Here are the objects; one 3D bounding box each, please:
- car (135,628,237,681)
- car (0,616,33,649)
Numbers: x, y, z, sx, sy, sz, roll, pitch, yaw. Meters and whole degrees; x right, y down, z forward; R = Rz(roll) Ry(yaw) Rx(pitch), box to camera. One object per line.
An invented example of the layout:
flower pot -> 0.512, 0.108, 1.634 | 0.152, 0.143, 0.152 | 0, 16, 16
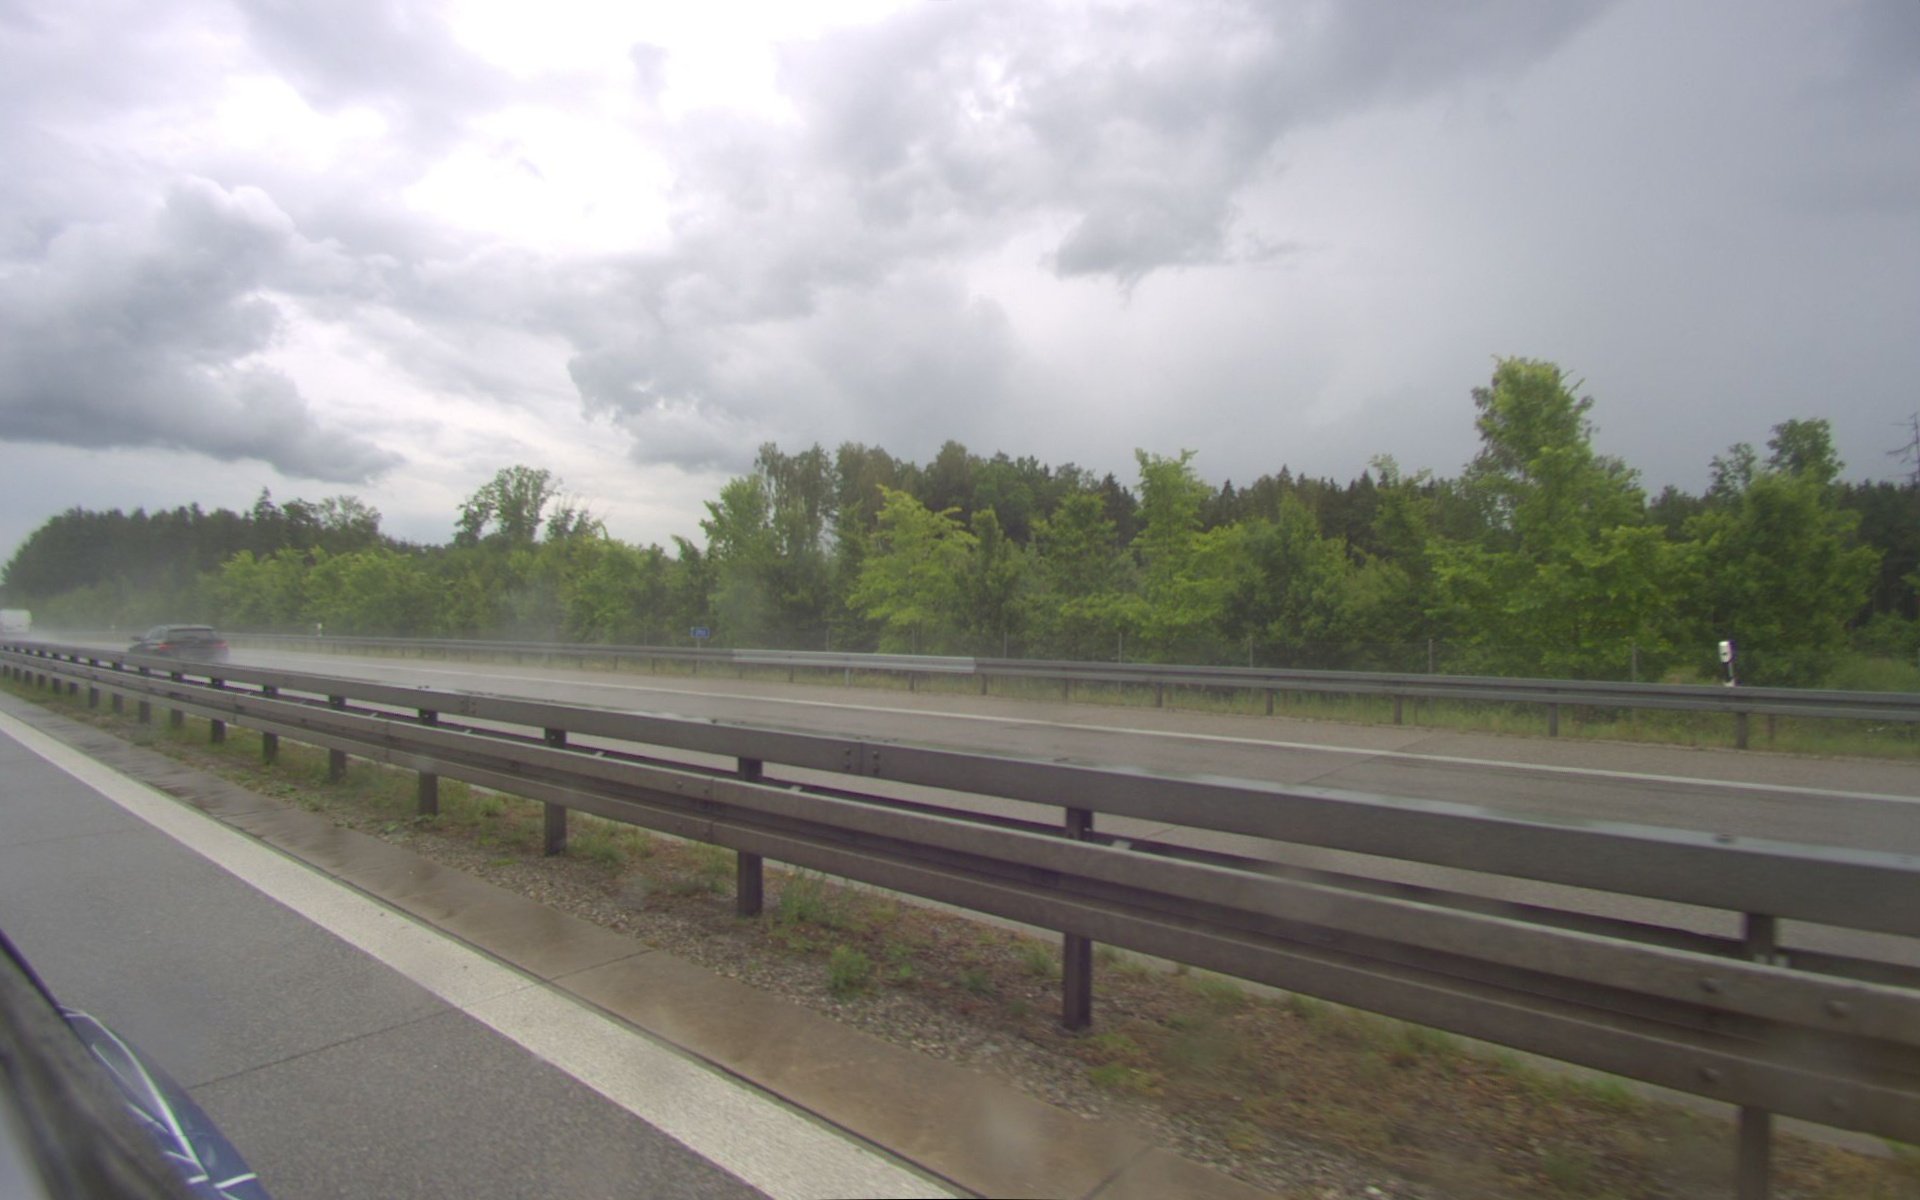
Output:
car -> -22.141, 1.535, 28.898 | 3.929, 1.414, 1.504 | -2, -4, 41
car -> -81.129, 2.747, 86.302 | 6.872, 2.770, 2.326 | -2, -2, 41
